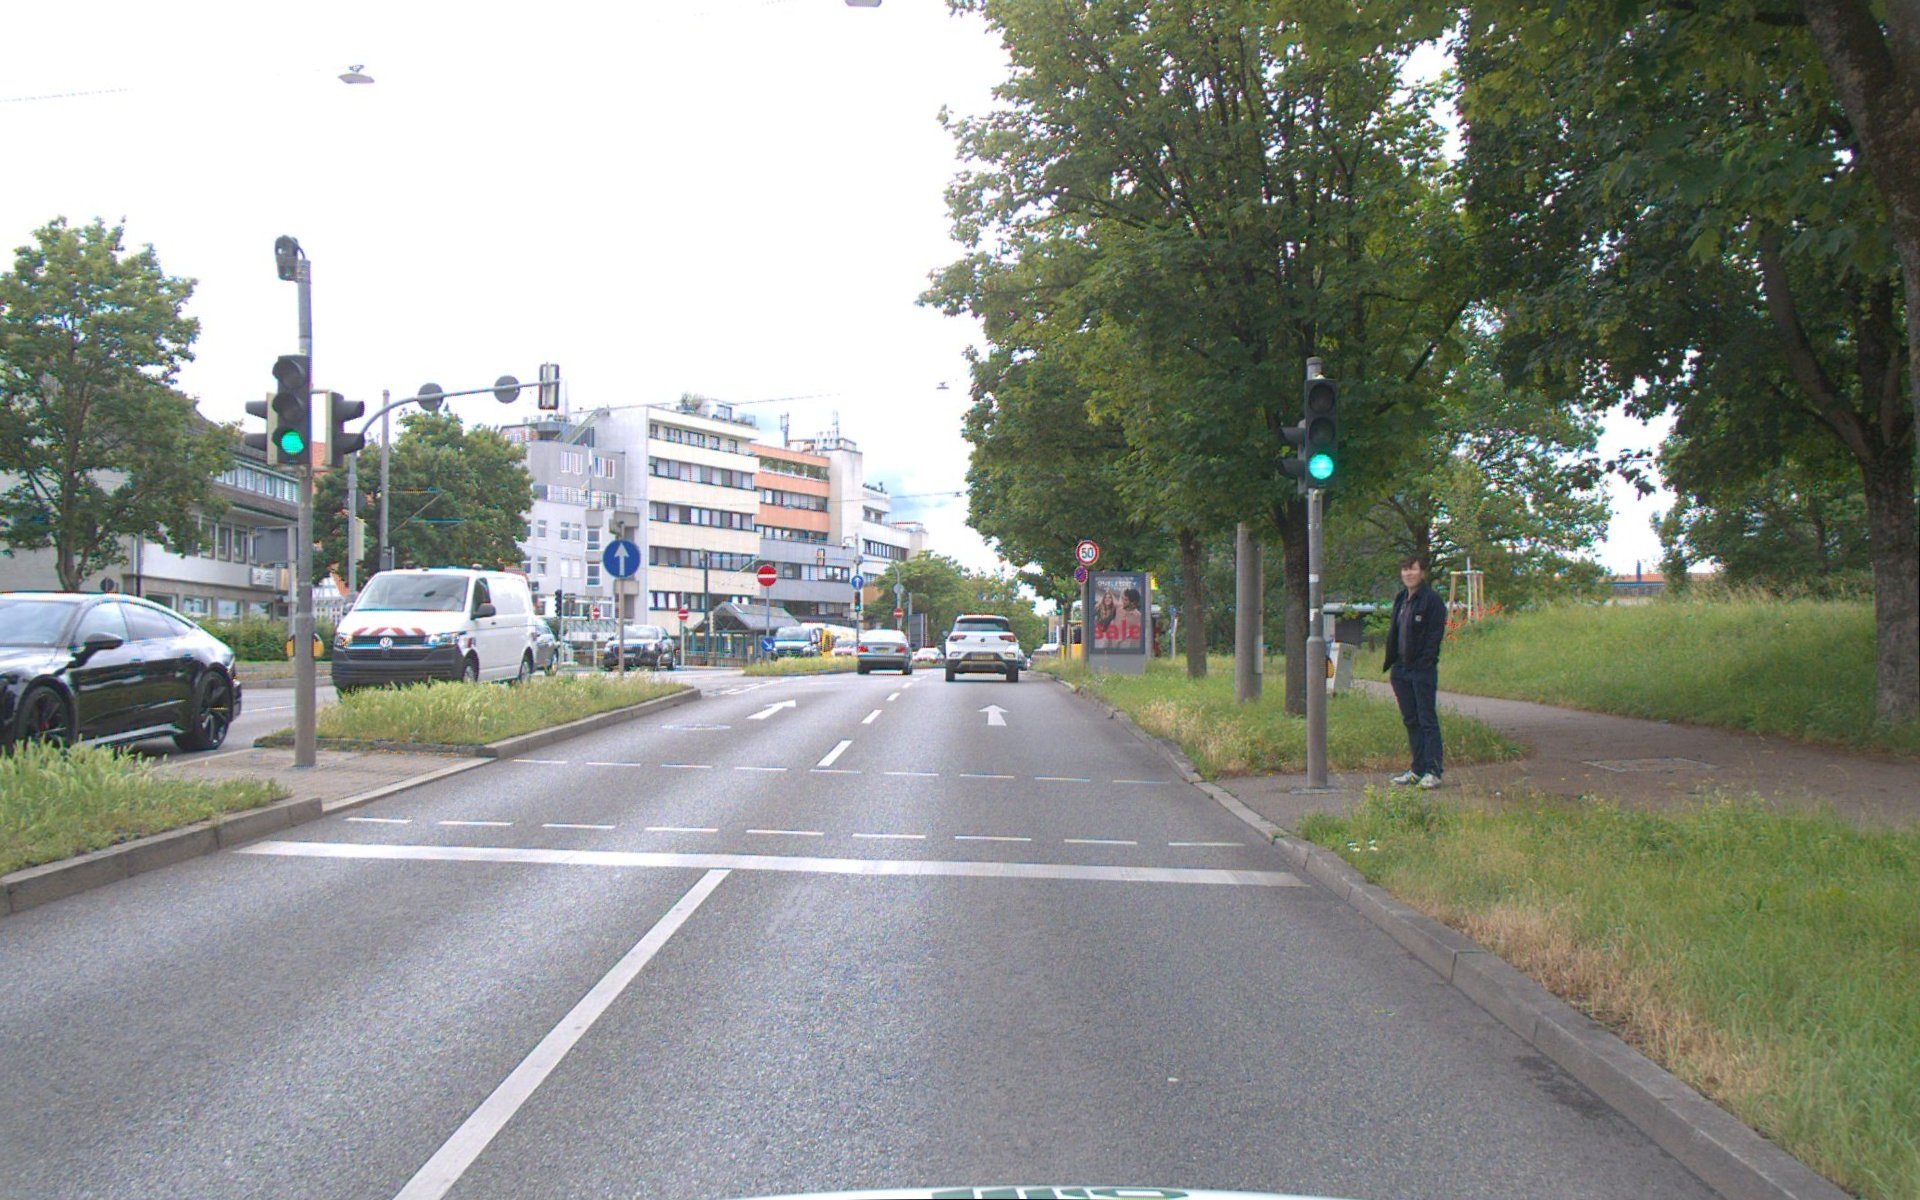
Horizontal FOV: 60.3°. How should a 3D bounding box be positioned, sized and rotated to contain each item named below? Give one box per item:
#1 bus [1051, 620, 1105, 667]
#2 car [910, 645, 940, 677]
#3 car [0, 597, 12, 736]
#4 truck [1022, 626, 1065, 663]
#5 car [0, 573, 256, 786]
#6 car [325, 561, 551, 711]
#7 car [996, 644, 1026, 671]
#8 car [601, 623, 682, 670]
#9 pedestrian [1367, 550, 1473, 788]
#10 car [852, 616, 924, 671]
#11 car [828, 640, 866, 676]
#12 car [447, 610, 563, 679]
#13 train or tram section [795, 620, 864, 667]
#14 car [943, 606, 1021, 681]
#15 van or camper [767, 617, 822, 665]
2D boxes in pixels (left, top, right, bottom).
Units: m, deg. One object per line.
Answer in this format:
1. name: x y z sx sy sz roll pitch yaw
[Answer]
1. bus: 8.591 3.182 119.350 2.891 3.247 9.935 0 -2 10
2. car: -2.459 4.301 117.576 1.952 1.617 4.838 2 5 1
3. car: -10.664 0.666 14.917 1.746 1.403 3.952 1 0 4
4. truck: 10.053 5.385 198.061 2.891 4.152 16.613 0 -2 11
5. car: -7.661 0.563 13.652 1.741 1.507 4.481 -1 0 0
6. car: -7.787 0.478 25.191 1.798 2.037 4.858 1 0 1
7. car: 3.436 3.872 112.395 1.735 1.598 4.283 0 1 -2
8. car: -10.403 1.488 54.217 1.823 1.453 4.000 0 -1 1
9. pedestrian: 3.735 0.543 13.467 0.630 1.888 0.672 0 0 -6
10. car: -2.243 1.342 52.326 1.663 1.542 3.739 0 1 7
11. car: -7.312 3.745 107.351 1.952 2.048 4.835 2 1 1
12. car: -10.558 1.018 38.652 1.709 1.490 3.998 -1 -1 -2
13. train or tram section: -10.097 3.505 129.423 2.505 3.471 13.090 -1 -2 8
14. car: 0.570 1.005 40.130 1.664 1.575 3.738 3 1 3
15. van or camper: -7.210 1.804 72.630 1.887 1.972 5.247 1 -2 -1
